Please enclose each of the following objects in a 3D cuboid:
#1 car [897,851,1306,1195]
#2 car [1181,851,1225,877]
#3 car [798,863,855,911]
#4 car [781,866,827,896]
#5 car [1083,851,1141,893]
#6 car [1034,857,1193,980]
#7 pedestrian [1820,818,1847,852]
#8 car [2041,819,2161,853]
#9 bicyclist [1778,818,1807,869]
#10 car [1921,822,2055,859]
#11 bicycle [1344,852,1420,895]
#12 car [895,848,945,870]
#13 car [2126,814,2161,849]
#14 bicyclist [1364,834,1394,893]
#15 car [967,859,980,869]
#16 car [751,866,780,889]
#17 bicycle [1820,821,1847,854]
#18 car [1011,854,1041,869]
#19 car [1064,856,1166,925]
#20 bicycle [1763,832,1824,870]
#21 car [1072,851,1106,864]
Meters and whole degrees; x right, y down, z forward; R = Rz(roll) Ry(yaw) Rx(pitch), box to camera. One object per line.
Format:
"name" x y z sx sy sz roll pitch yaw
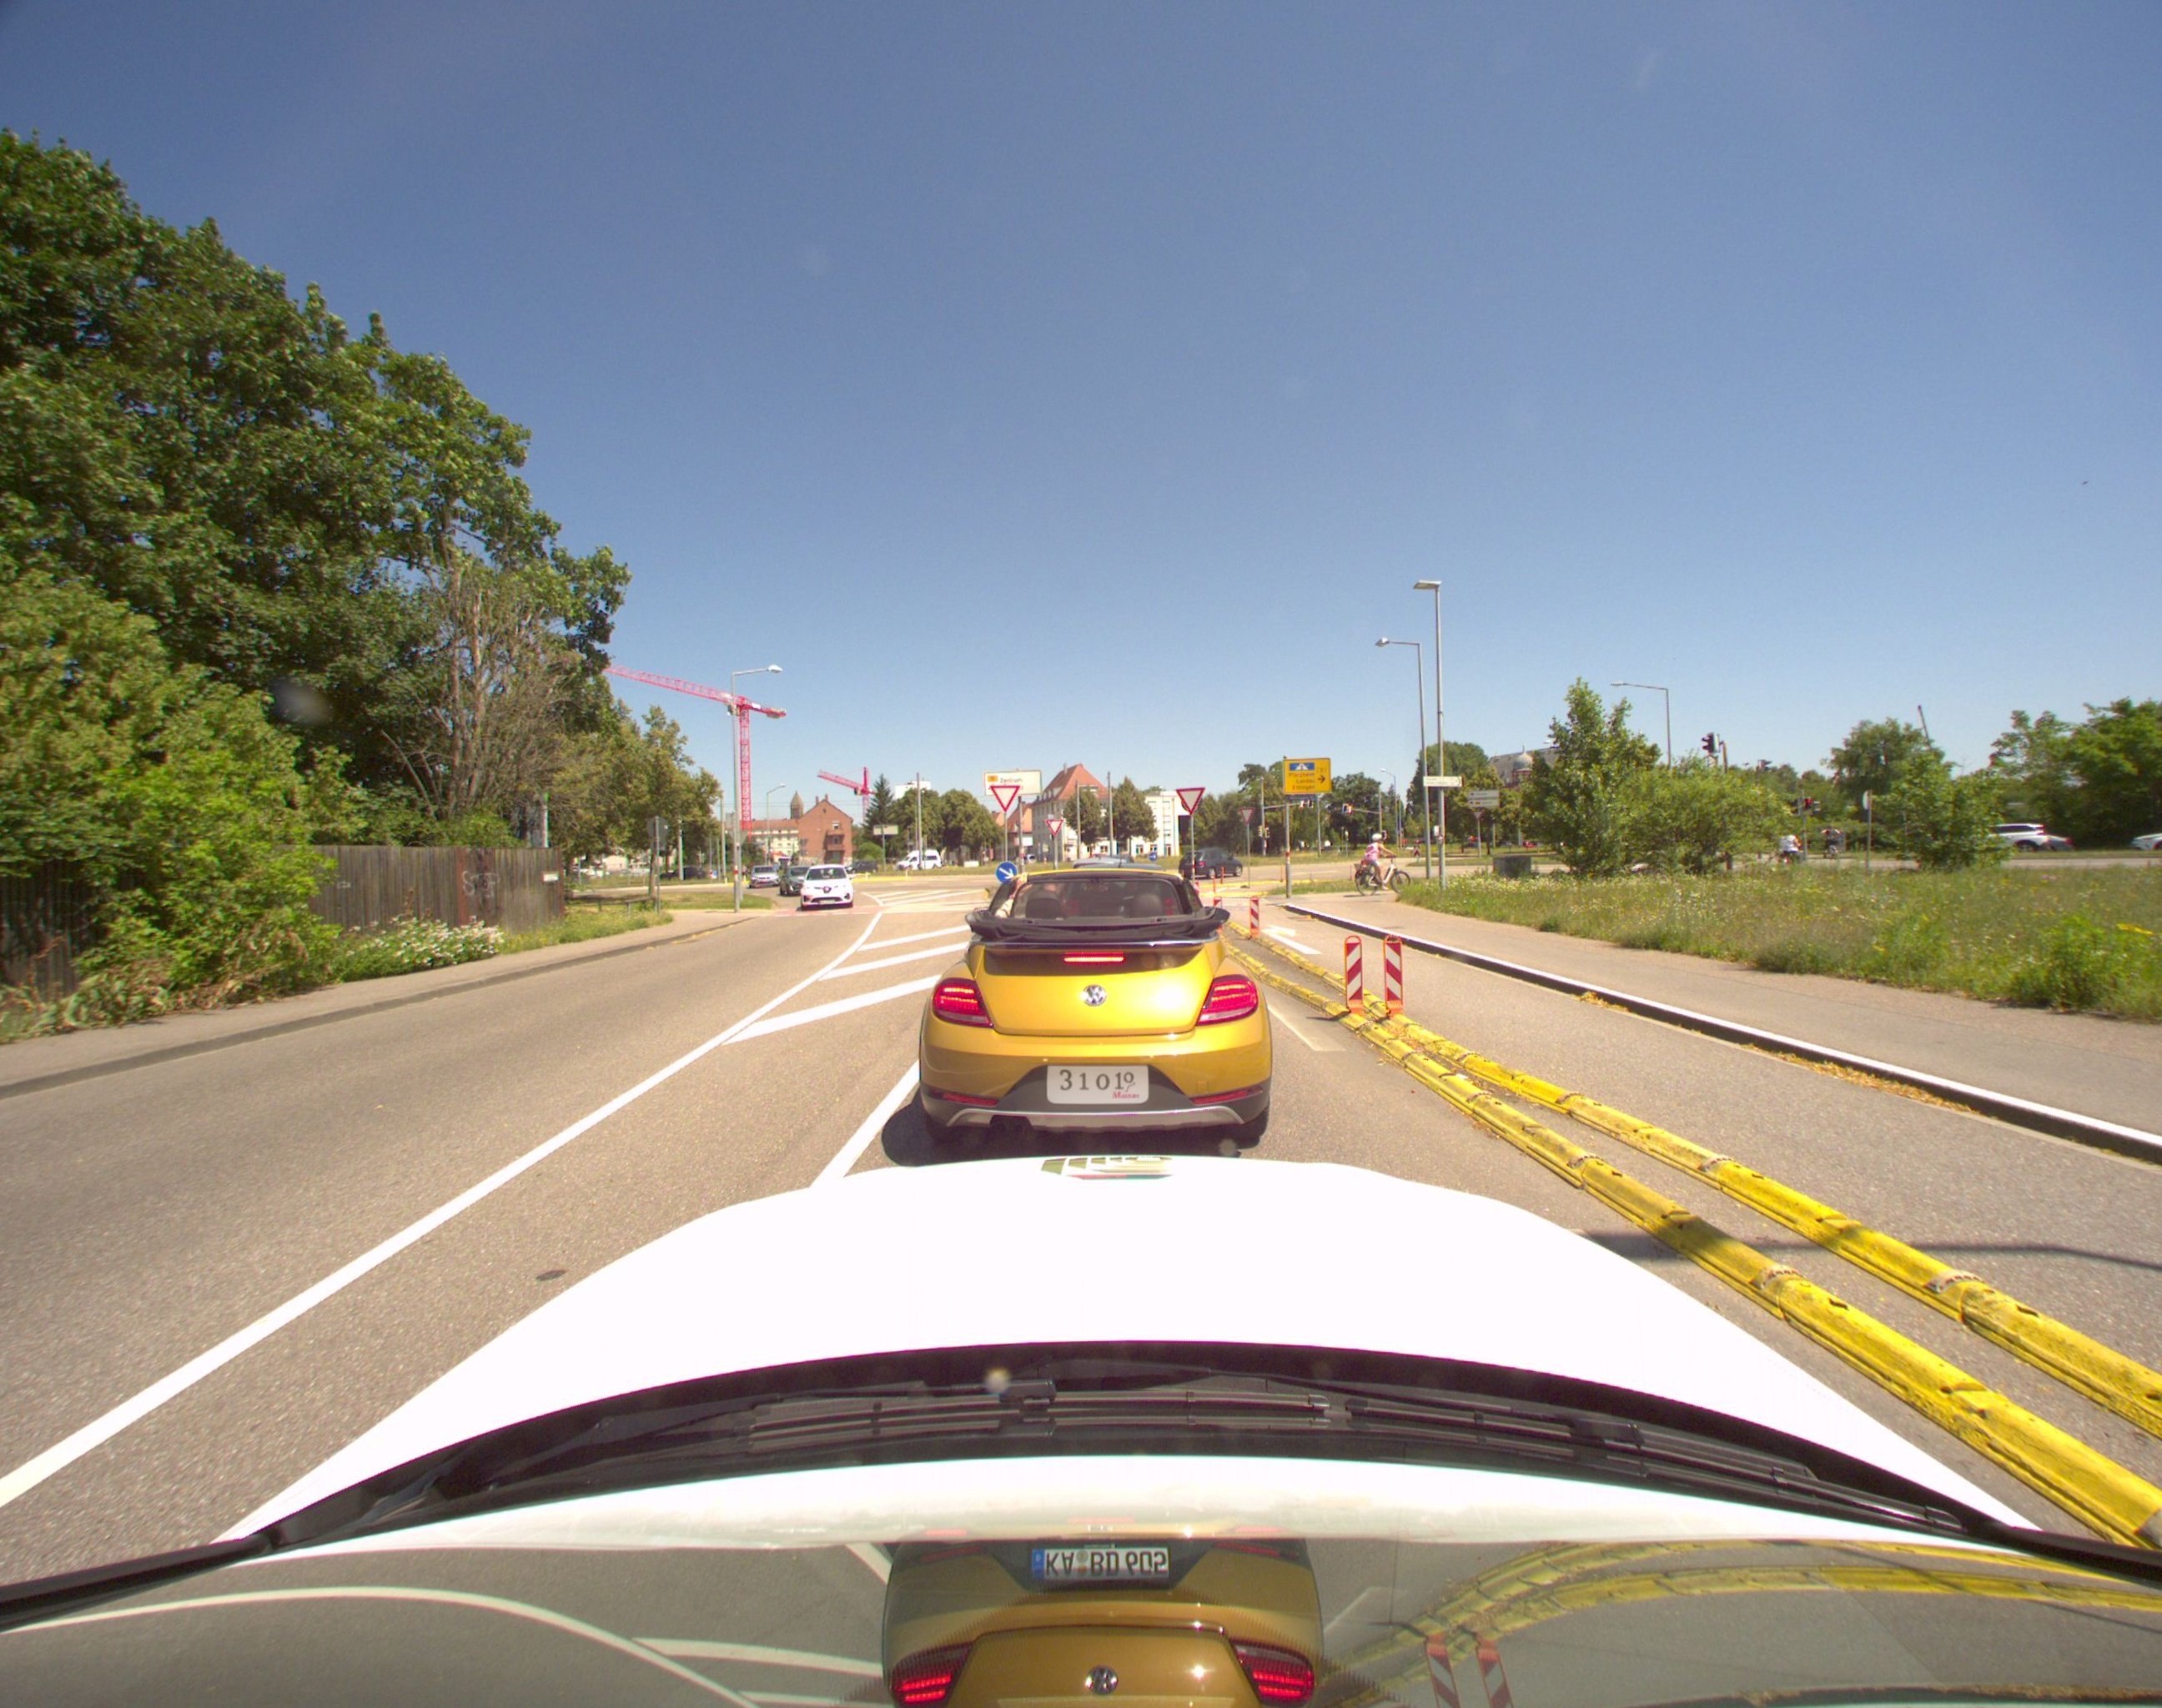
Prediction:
"car" 0.153 0.749 5.655 1.758 1.481 4.259 0 -1 2
"car" 6.216 0.507 41.318 1.421 1.259 3.235 -1 -1 22
"car" -9.057 1.109 29.083 1.780 1.527 3.850 -2 0 -17
"car" -13.828 1.323 40.902 1.748 1.371 4.311 0 -1 -13
"car" 1.217 0.664 32.227 2.057 1.481 4.545 -2 0 2
"car" 0.455 0.778 11.798 1.844 1.366 4.260 -2 0 2
"pedestrian" 37.920 -0.950 41.028 0.959 1.660 0.892 -1 -1 44
"car" 51.370 -0.868 40.568 4.389 1.592 1.860 -1 -1 43
"bicyclist" 25.775 -0.379 29.493 0.573 1.841 0.603 0 -1 -29
"car" 45.950 -0.649 41.423 4.389 1.736 1.860 -1 -1 43
"bicycle" 9.268 0.594 25.101 2.082 1.221 0.634 -2 0 4
"car" -18.218 0.590 92.445 5.358 2.397 1.970 0 -1 -44
"car" 51.287 -1.076 37.024 4.389 1.592 1.860 -1 -1 43
"bicyclist" 9.193 0.280 25.116 0.667 1.752 0.593 -3 1 3
"car" -20.410 1.924 154.541 1.889 1.772 3.977 0 -1 -17
"car" -20.753 1.509 53.465 1.734 1.402 4.239 0 -1 -22
"bicycle" 38.019 -0.822 41.137 0.972 1.597 2.900 -1 -1 43
"car" -8.175 1.124 120.896 2.003 2.070 5.269 0 -1 -37
"car" 0.779 0.753 18.626 2.057 1.382 4.260 0 0 2
"bicycle" 25.852 -0.113 29.536 2.902 1.353 0.635 0 -1 -27
"car" 1.062 0.449 105.131 4.314 1.654 1.902 0 -1 2
